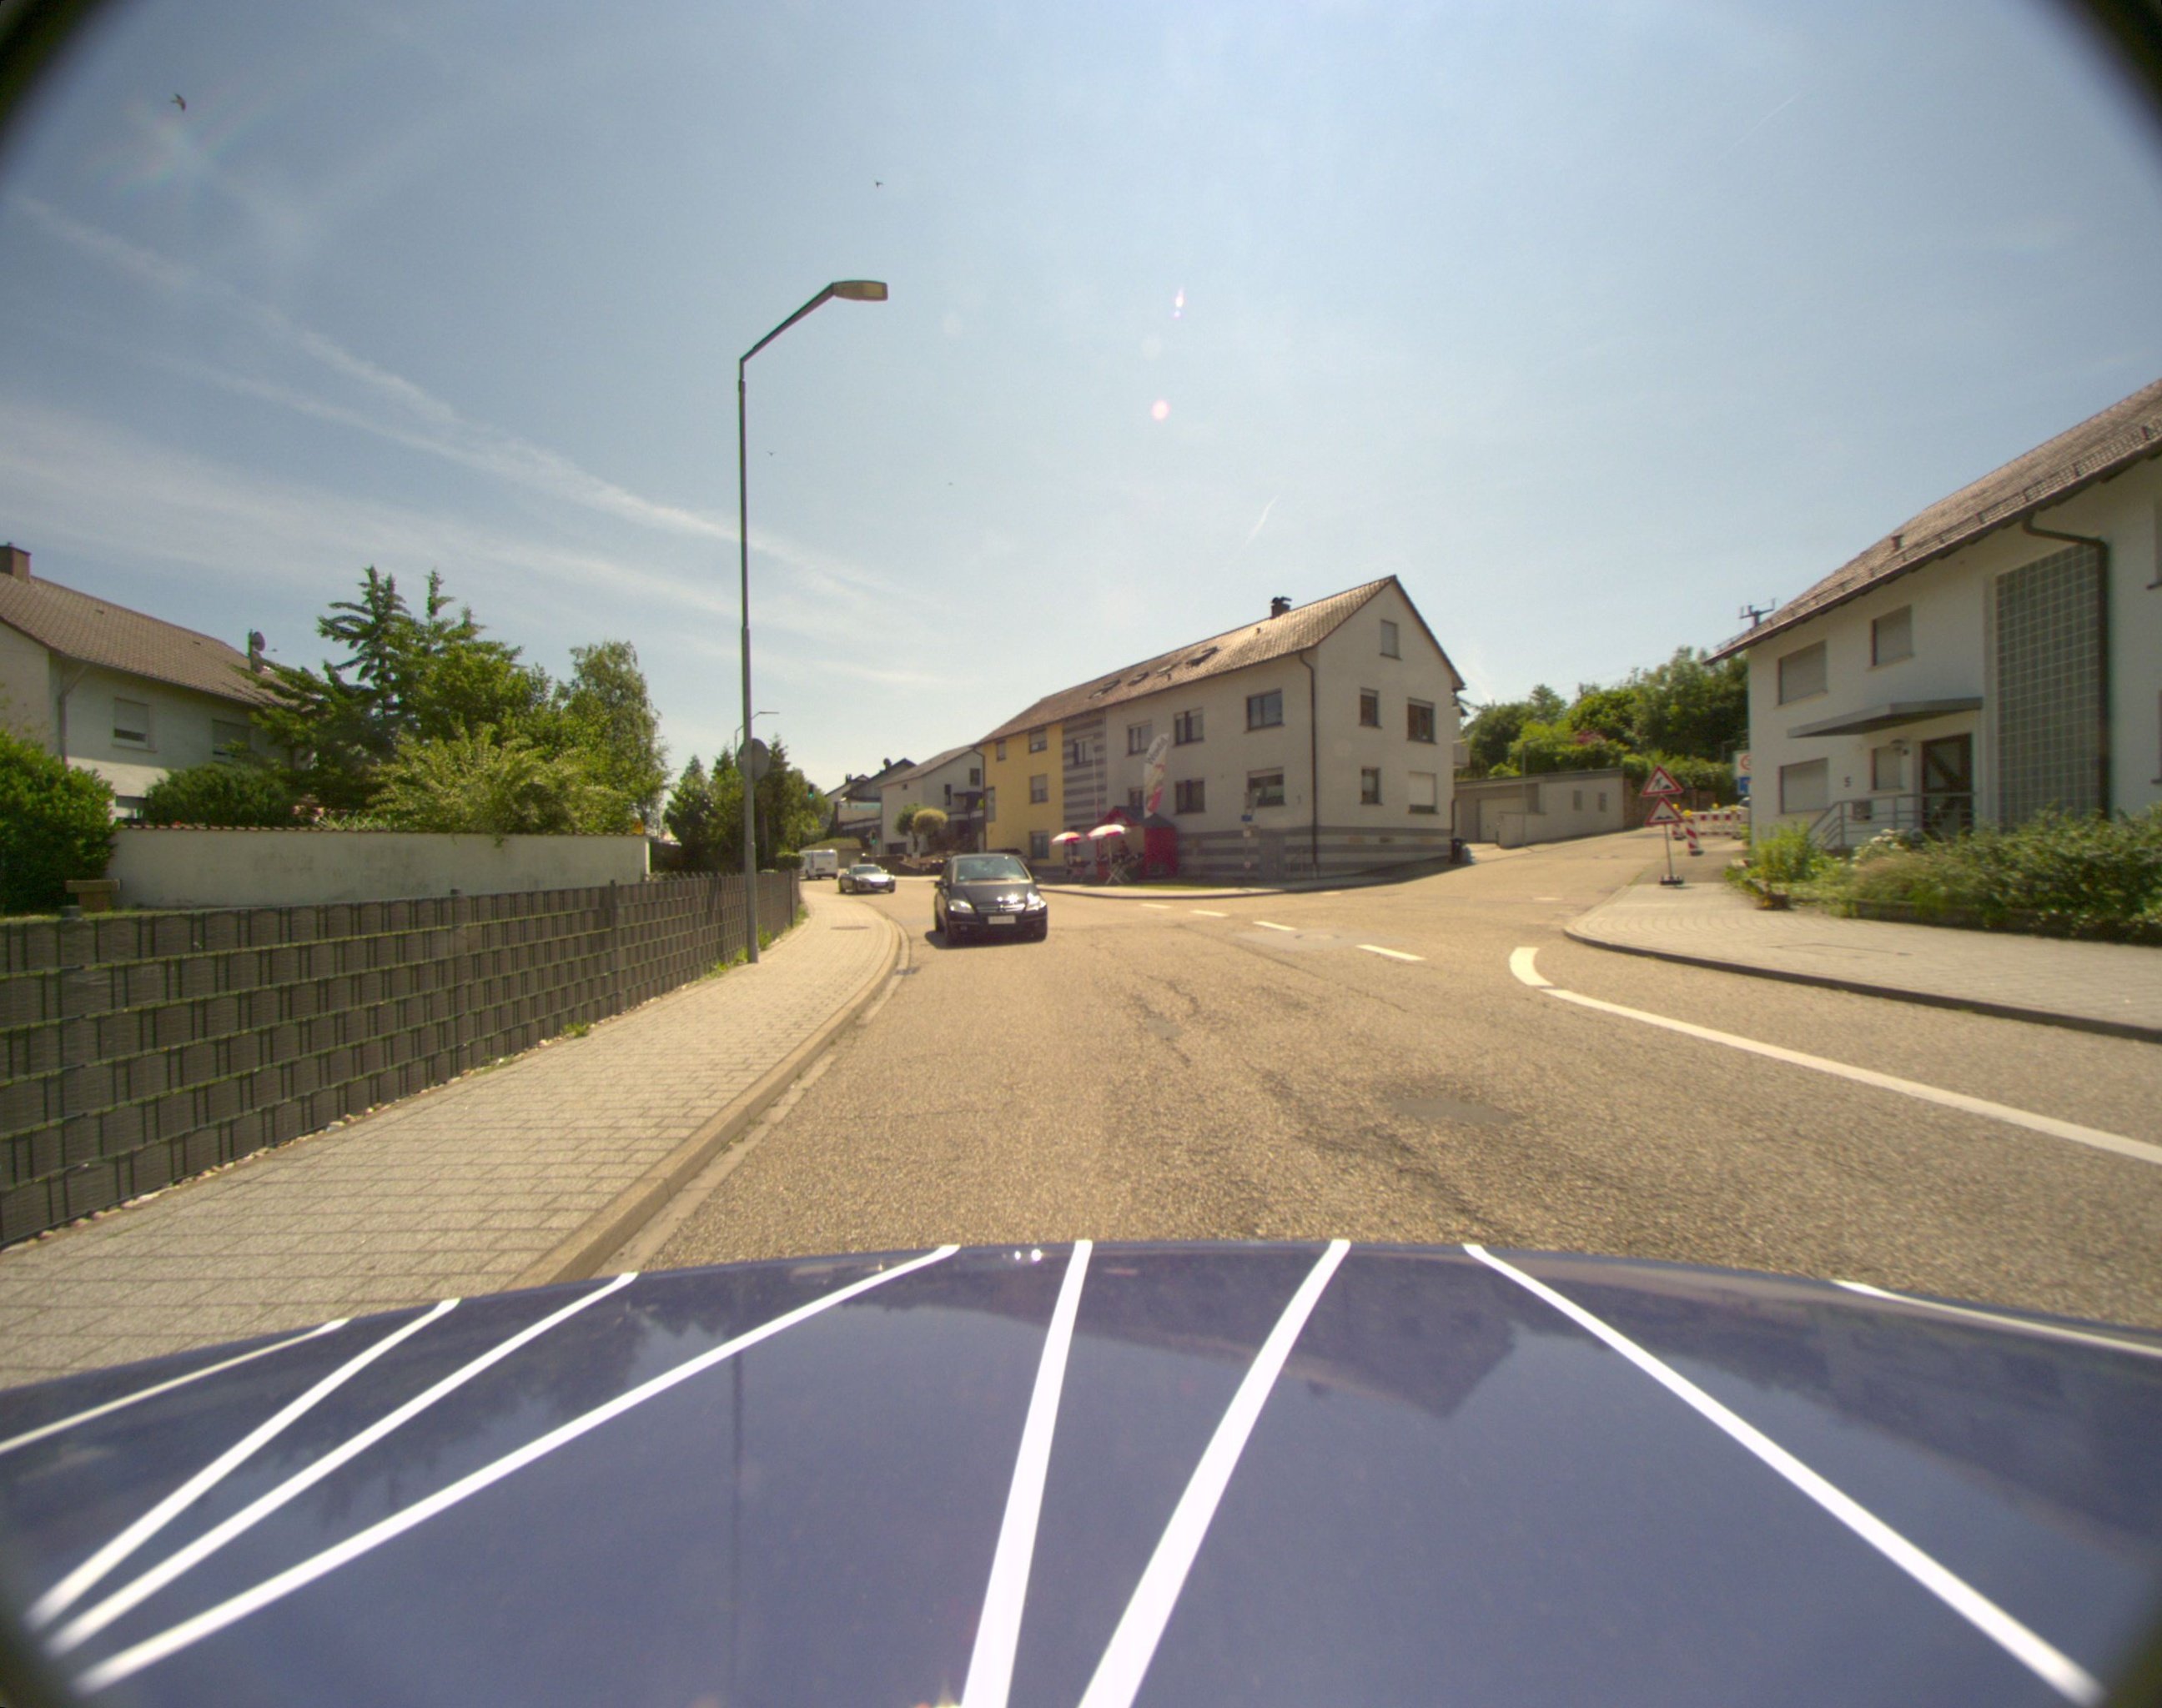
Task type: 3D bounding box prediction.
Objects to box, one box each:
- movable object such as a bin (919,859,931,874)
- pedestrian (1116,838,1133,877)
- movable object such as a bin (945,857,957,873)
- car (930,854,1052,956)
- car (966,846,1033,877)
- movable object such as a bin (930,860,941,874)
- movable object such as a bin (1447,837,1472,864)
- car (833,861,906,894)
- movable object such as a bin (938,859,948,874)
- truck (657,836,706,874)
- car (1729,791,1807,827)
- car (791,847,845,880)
[{"bbox_3d":[-9.824,0.770,47.827,0.503,0.942,0.552,-2,2,-36],"label":"movable object such as a bin"},{"bbox_3d":[1.819,0.155,31.567,0.612,1.578,0.808,-1,1,-2],"label":"pedestrian"},{"bbox_3d":[-8.342,0.699,48.803,0.473,1.049,0.632,-3,2,-36],"label":"movable object such as a bin"},{"bbox_3d":[-1.893,0.834,14.730,1.766,1.583,4.192,-2,1,-14],"label":"car"},{"bbox_3d":[-4.398,0.383,40.628,1.739,1.543,4.177,-2,1,-34],"label":"car"},{"bbox_3d":[-9.230,0.820,48.217,0.449,0.923,0.560,-3,2,-36],"label":"movable object such as a bin"},{"bbox_3d":[13.679,-0.129,27.431,0.601,0.929,0.599,-2,1,-37],"label":"movable object such as a bin"},{"bbox_3d":[-9.385,0.999,33.510,1.818,1.306,3.990,-2,1,-35],"label":"car"},{"bbox_3d":[-8.828,0.792,48.542,0.449,0.933,0.529,-2,1,-36],"label":"movable object such as a bin"},{"bbox_3d":[-40.393,0.163,76.659,3.212,3.577,8.284,3,-2,-35],"label":"truck"},{"bbox_3d":[33.067,-2.184,36.515,4.390,1.413,1.905,-5,3,-36],"label":"car"},{"bbox_3d":[-17.877,0.585,51.518,2.003,1.989,5.200,-4,3,-35],"label":"car"}]
